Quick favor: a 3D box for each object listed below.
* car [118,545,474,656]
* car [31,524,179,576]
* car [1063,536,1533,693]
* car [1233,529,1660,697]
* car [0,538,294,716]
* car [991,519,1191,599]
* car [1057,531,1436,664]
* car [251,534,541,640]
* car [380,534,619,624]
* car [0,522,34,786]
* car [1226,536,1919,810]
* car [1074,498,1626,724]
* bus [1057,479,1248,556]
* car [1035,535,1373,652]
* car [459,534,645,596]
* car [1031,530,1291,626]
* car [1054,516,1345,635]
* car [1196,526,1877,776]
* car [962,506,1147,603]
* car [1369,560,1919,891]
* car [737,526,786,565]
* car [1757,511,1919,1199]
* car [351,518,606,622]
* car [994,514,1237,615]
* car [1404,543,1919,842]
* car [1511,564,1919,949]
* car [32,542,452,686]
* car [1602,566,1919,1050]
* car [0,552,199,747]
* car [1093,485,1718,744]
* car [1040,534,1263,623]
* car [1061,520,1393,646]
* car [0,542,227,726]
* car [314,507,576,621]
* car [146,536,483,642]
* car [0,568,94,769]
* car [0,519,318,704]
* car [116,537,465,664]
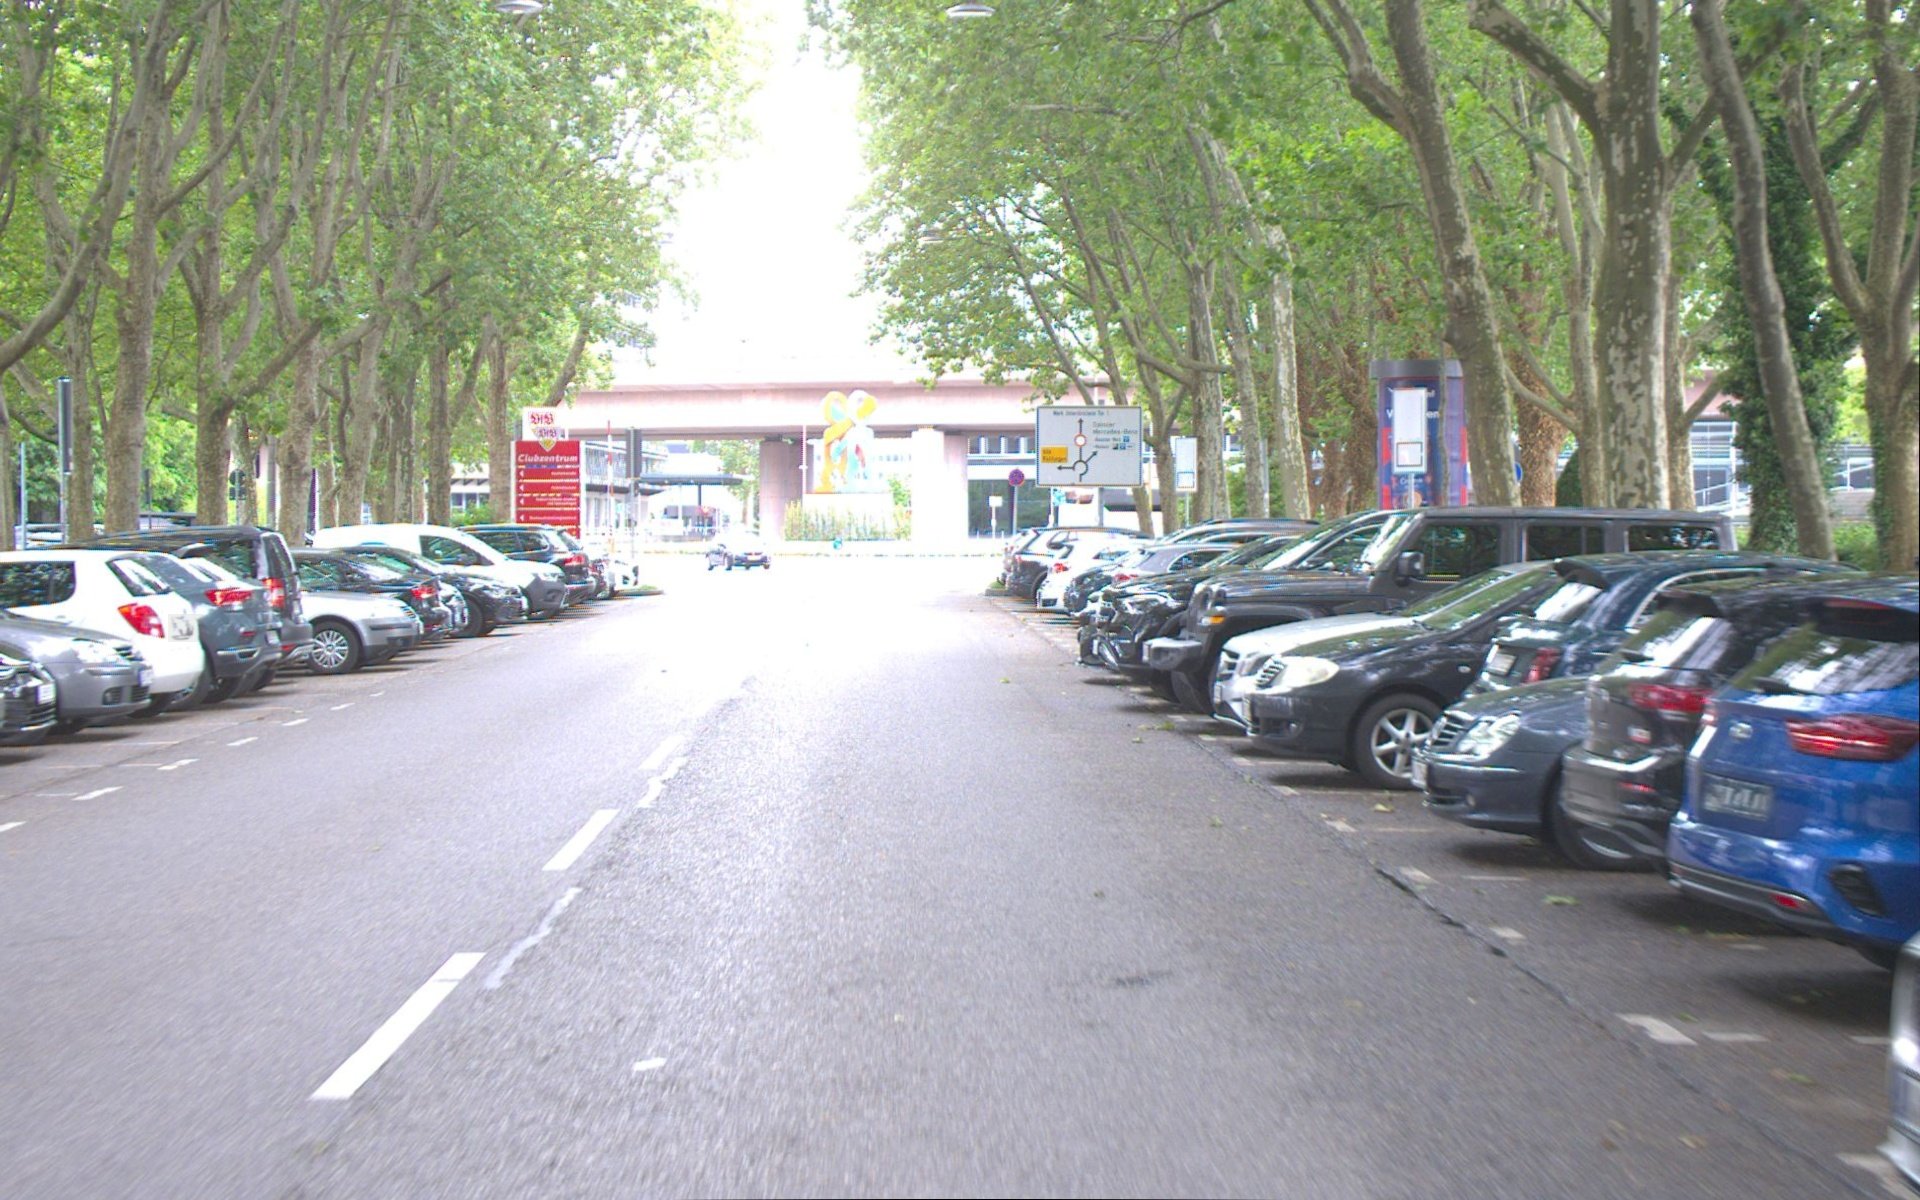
[{"bbox_3d":[-9.057,-0.007,47.116,4.463,1.343,1.902,-1,2,1],"label":"car"},{"bbox_3d":[-25.794,-1.515,103.829,3.987,1.517,2.002,1,1,-1],"label":"car"},{"bbox_3d":[3.339,0.123,34.618,4.495,1.423,1.932,1,1,0],"label":"car"},{"bbox_3d":[5.622,0.139,40.057,4.494,1.790,2.048,1,2,-7],"label":"car"},{"bbox_3d":[-8.244,0.245,31.530,3.930,1.511,1.728,-2,1,-2],"label":"car"},{"bbox_3d":[2.893,-0.927,76.883,4.346,1.628,1.926,1,2,0],"label":"car"},{"bbox_3d":[3.512,-0.047,42.634,4.345,1.497,1.926,1,2,-7],"label":"car"},{"bbox_3d":[-8.431,-0.208,51.590,3.979,1.416,1.755,-2,1,2],"label":"car"},{"bbox_3d":[-8.588,-0.409,64.368,4.129,1.447,2.013,-3,1,1],"label":"car"},{"bbox_3d":[-8.087,0.318,21.661,3.987,1.676,1.856,1,1,0],"label":"car"},{"bbox_3d":[3.895,0.434,21.750,4.195,1.513,1.785,2,1,-1],"label":"car"},{"bbox_3d":[3.317,0.061,29.934,4.495,1.790,2.048,1,2,-1],"label":"car"},{"bbox_3d":[8.763,-3.716,155.539,9.991,3.387,2.339,-1,2,-43],"label":"bus"},{"bbox_3d":[3.223,-0.101,46.133,4.346,1.408,1.926,1,2,0],"label":"car"},{"bbox_3d":[-9.422,-0.813,79.552,3.994,1.380,1.911,1,1,3],"label":"car"},{"bbox_3d":[3.296,-0.379,56.844,4.148,1.453,1.727,1,1,0],"label":"car"},{"bbox_3d":[3.750,-0.403,54.315,4.346,1.739,1.837,1,2,-3],"label":"car"},{"bbox_3d":[3.983,0.323,24.421,4.495,1.566,2.047,2,2,2],"label":"car"},{"bbox_3d":[2.073,-1.024,76.360,3.987,2.006,2.000,1,2,0],"label":"car"},{"bbox_3d":[4.273,0.599,16.863,4.195,1.451,1.785,1,2,-4],"label":"car"},{"bbox_3d":[-7.788,-2.137,134.990,1.842,1.504,4.016,1,1,-3],"label":"car"},{"bbox_3d":[4.087,0.680,6.751,4.523,1.617,2.054,1,2,0],"label":"car"},{"bbox_3d":[-8.630,-0.545,61.922,4.317,1.789,2.037,1,1,-1],"label":"car"},{"bbox_3d":[2.890,-0.677,64.496,4.346,1.755,1.926,2,1,-2],"label":"car"},{"bbox_3d":[4.760,0.504,19.234,4.195,1.513,1.785,1,2,-4],"label":"car"},{"bbox_3d":[4.619,0.642,14.498,4.195,1.451,1.785,1,2,-4],"label":"car"},{"bbox_3d":[-8.177,0.139,39.423,4.463,1.477,1.703,-2,1,-2],"label":"car"},{"bbox_3d":[4.446,0.672,11.717,4.015,1.442,1.915,1,2,-6],"label":"car"},{"bbox_3d":[-8.110,0.400,26.756,3.993,1.415,1.703,-2,2,-2],"label":"car"},{"bbox_3d":[3.422,0.084,27.021,4.494,1.860,2.048,1,2,-4],"label":"car"},{"bbox_3d":[3.293,-0.383,59.486,3.639,1.422,1.666,1,2,-4],"label":"car"},{"bbox_3d":[3.781,-0.262,49.324,4.591,1.633,1.872,1,2,1],"label":"car"},{"bbox_3d":[-8.527,0.301,29.583,3.993,1.480,1.703,-1,1,4],"label":"car"},{"bbox_3d":[-8.854,-0.631,59.401,4.317,1.804,1.868,-2,1,-4],"label":"car"},{"bbox_3d":[-9.209,-0.173,49.305,4.463,1.365,1.880,-2,2,-1],"label":"car"},{"bbox_3d":[-8.373,0.439,24.449,3.986,1.364,1.844,1,1,-2],"label":"car"},{"bbox_3d":[-8.478,0.107,33.988,3.930,1.702,1.752,-2,1,-2],"label":"car"},{"bbox_3d":[-8.112,-0.014,41.889,3.930,1.393,1.703,-2,2,-2],"label":"car"}]
